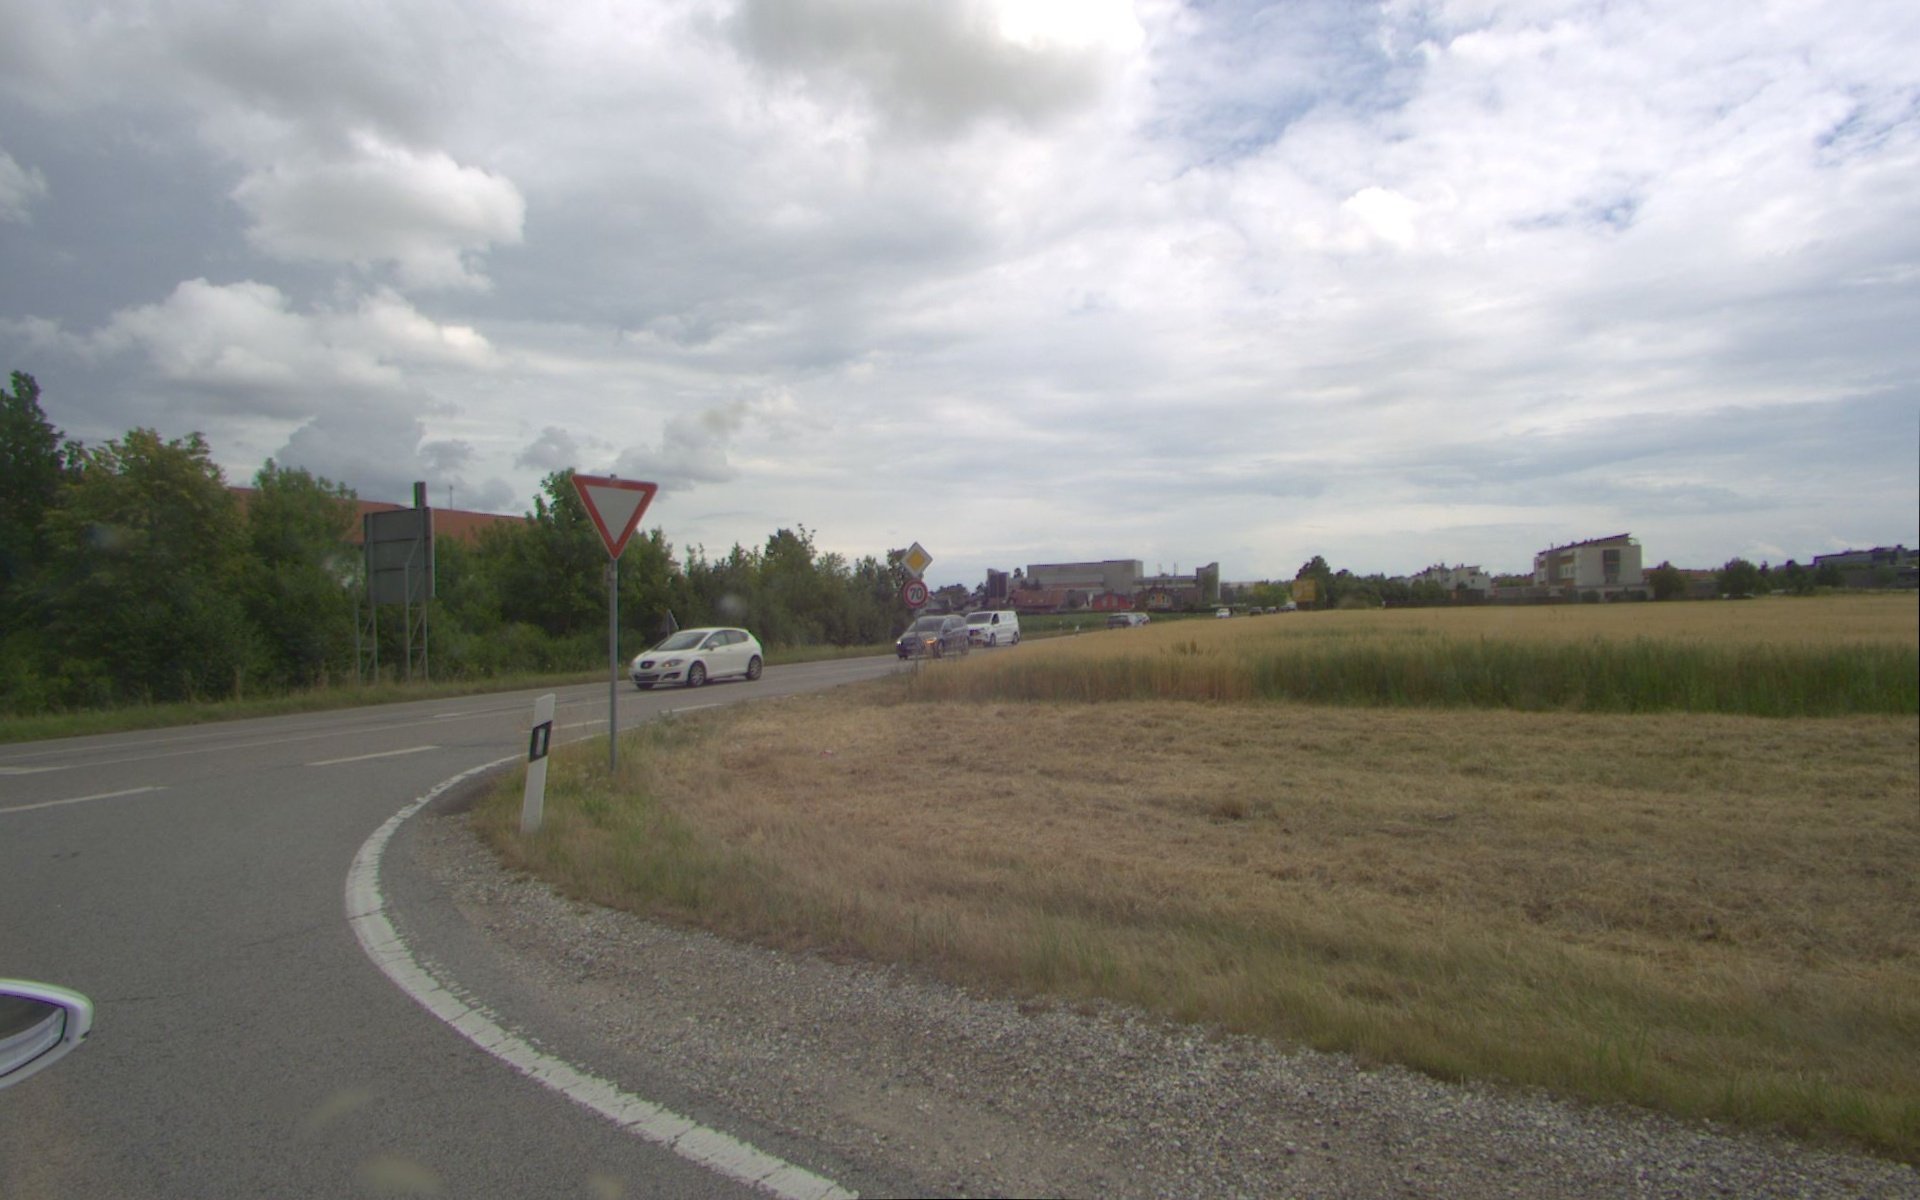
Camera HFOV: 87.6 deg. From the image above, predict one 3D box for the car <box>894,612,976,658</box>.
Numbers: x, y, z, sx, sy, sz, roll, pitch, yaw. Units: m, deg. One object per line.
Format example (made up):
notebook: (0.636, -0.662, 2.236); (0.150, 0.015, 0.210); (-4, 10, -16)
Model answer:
car: (-0.948, 1.378, 40.460); (1.724, 1.679, 4.280); (-3, -1, 22)

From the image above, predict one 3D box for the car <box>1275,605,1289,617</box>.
car: (59.505, 2.036, 184.894); (2.085, 2.040, 4.726); (-1, 0, 23)

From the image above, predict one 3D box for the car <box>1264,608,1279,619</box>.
car: (50.044, 2.162, 160.733); (1.834, 1.750, 3.987); (-2, 0, 25)

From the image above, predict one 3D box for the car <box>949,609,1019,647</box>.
car: (1.397, 1.480, 54.913); (2.077, 1.910, 5.377); (-2, -1, 22)

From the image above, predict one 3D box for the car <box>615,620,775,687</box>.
car: (-6.729, 1.334, 25.960); (1.789, 1.426, 4.302); (-3, -1, 21)

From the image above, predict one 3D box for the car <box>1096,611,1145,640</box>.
car: (9.390, 1.473, 58.391); (1.834, 1.586, 3.987); (-2, 0, 25)

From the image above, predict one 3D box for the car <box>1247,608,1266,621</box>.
car: (40.546, 1.984, 136.879); (1.834, 1.750, 3.987); (-2, 0, 25)

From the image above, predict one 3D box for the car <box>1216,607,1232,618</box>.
car: (36.237, 1.673, 137.411); (1.706, 1.450, 3.925); (-3, -1, 21)
